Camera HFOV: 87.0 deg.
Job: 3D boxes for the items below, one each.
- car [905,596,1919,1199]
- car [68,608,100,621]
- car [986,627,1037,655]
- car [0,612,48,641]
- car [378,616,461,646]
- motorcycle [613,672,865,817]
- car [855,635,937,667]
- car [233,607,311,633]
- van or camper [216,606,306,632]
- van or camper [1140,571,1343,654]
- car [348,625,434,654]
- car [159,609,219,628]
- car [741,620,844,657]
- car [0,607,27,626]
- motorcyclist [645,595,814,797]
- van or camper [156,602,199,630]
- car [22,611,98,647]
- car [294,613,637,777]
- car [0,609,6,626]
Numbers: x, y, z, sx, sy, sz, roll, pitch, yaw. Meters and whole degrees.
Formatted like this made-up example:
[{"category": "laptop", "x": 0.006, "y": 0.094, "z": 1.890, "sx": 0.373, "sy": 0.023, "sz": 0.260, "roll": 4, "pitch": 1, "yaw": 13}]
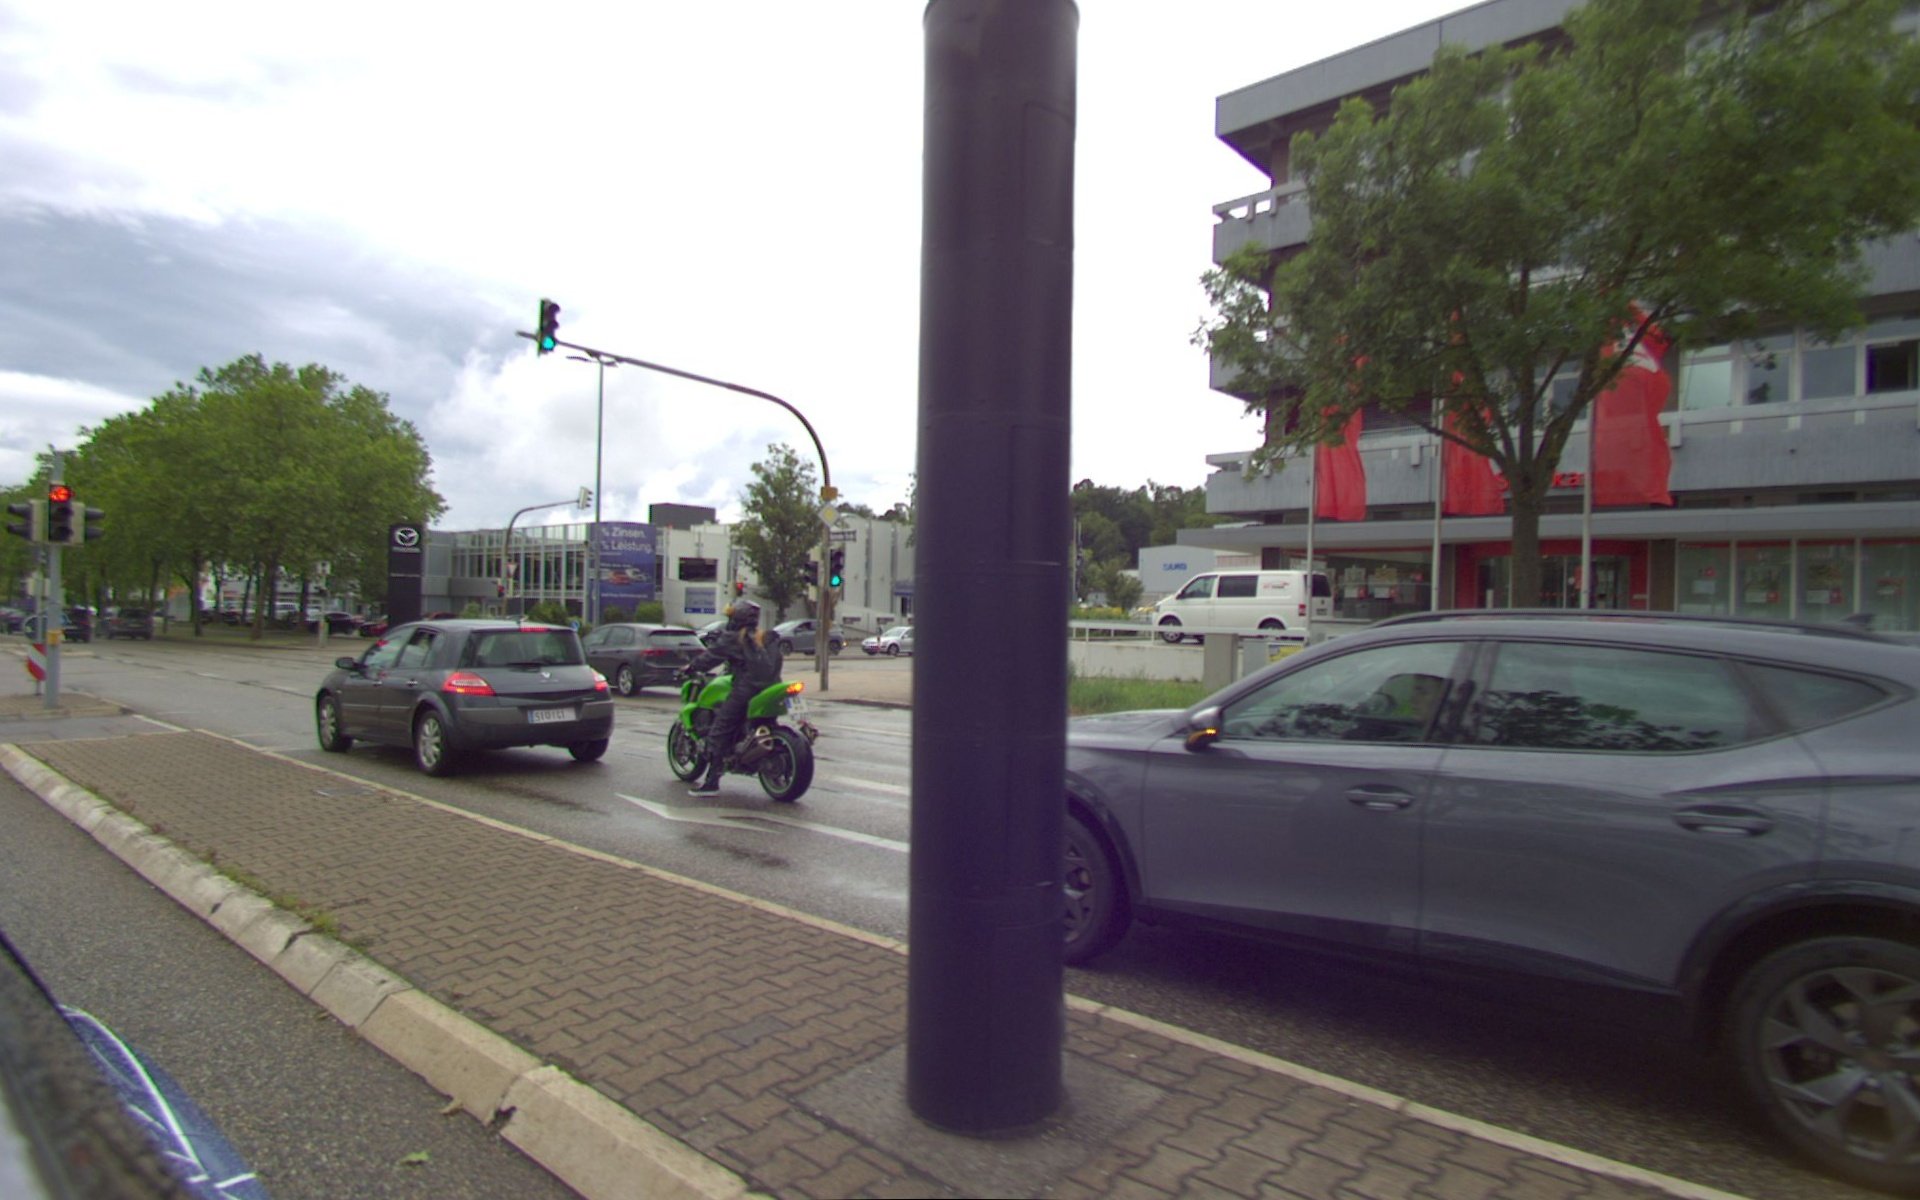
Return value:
[{"category": "car", "x": 2.102, "y": 0.770, "z": 3.826, "sx": 4.828, "sy": 1.501, "sz": 1.726, "roll": -1, "pitch": -2, "yaw": 42}, {"category": "car", "x": -104.085, "y": 1.688, "z": 120.195, "sx": 5.244, "sy": 1.507, "sz": 2.096, "roll": 0, "pitch": -1, "yaw": 41}, {"category": "car", "x": 2.768, "y": 2.145, "z": 53.851, "sx": 1.495, "sy": 1.410, "sz": 3.357, "roll": 0, "pitch": -1, "yaw": 26}, {"category": "car", "x": -53.878, "y": 1.501, "z": 57.997, "sx": 3.995, "sy": 1.592, "sz": 1.694, "roll": 0, "pitch": -2, "yaw": 38}, {"category": "car", "x": -32.694, "y": 1.902, "z": 61.327, "sx": 1.996, "sy": 1.665, "sz": 4.206, "roll": 1, "pitch": -2, "yaw": 18}, {"category": "motorcycle", "x": -1.916, "y": 1.142, "z": 8.535, "sx": 2.321, "sy": 0.983, "sz": 0.798, "roll": -1, "pitch": -4, "yaw": 40}, {"category": "car", "x": -3.007, "y": 2.398, "z": 47.898, "sx": 1.878, "sy": 1.410, "sz": 3.648, "roll": -1, "pitch": -2, "yaw": 42}, {"category": "car", "x": -50.093, "y": 1.436, "z": 73.804, "sx": 1.984, "sy": 1.829, "sz": 4.440, "roll": 0, "pitch": -1, "yaw": 19}, {"category": "van or camper", "x": -52.590, "y": 1.457, "z": 76.271, "sx": 2.089, "sy": 1.783, "sz": 5.342, "roll": 4, "pitch": 0, "yaw": 19}, {"category": "van or camper", "x": 7.337, "y": 0.268, "z": 26.667, "sx": 4.787, "sy": 1.981, "sz": 1.973, "roll": 1, "pitch": 1, "yaw": 42}, {"category": "car", "x": -35.434, "y": 2.449, "z": 63.187, "sx": 1.984, "sy": 1.608, "sz": 4.540, "roll": 0, "pitch": 0, "yaw": 19}, {"category": "car", "x": -87.445, "y": 2.095, "z": 114.841, "sx": 2.128, "sy": 2.029, "sz": 4.994, "roll": 0, "pitch": -1, "yaw": 40}, {"category": "car", "x": -7.205, "y": 1.648, "z": 43.802, "sx": 1.880, "sy": 1.500, "sz": 4.100, "roll": -1, "pitch": -2, "yaw": 45}, {"category": "car", "x": -72.034, "y": 1.272, "z": 76.649, "sx": 3.999, "sy": 1.373, "sz": 1.624, "roll": -3, "pitch": -3, "yaw": 43}, {"category": "motorcyclist", "x": -1.963, "y": 0.760, "z": 8.580, "sx": 1.266, "sy": 1.571, "sz": 0.798, "roll": -1, "pitch": -2, "yaw": 40}, {"category": "van or camper", "x": -70.080, "y": 1.386, "z": 90.625, "sx": 6.400, "sy": 2.489, "sz": 1.972, "roll": 0, "pitch": 0, "yaw": 42}, {"category": "car", "x": -42.222, "y": 1.326, "z": 47.448, "sx": 4.357, "sy": 1.620, "sz": 1.892, "roll": 0, "pitch": -2, "yaw": 38}, {"category": "car", "x": -5.280, "y": 0.853, "z": 10.612, "sx": 3.995, "sy": 1.387, "sz": 1.666, "roll": 0, "pitch": -2, "yaw": 38}, {"category": "car", "x": -81.685, "y": 1.395, "z": 84.983, "sx": 4.170, "sy": 1.393, "sz": 1.693, "roll": 0, "pitch": -4, "yaw": 40}]
